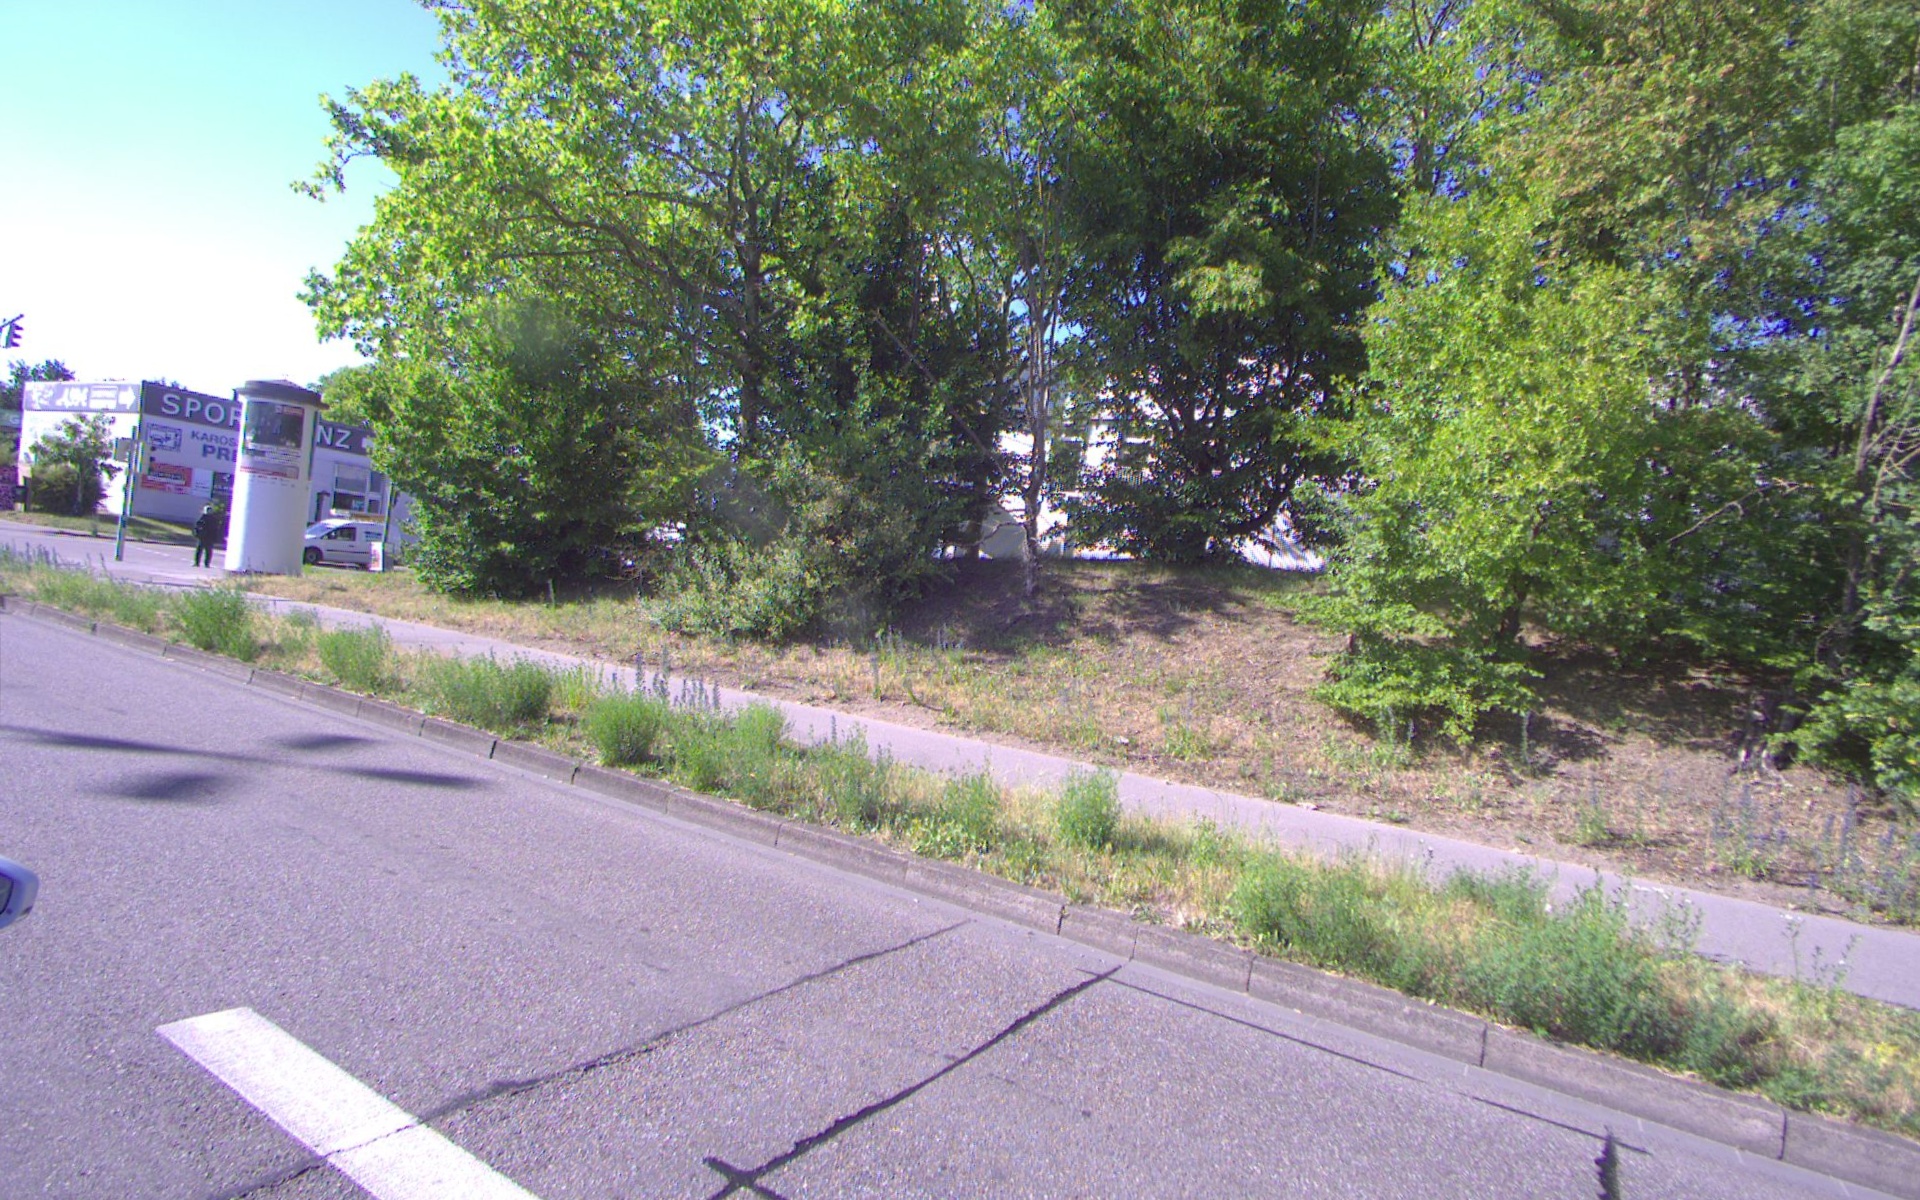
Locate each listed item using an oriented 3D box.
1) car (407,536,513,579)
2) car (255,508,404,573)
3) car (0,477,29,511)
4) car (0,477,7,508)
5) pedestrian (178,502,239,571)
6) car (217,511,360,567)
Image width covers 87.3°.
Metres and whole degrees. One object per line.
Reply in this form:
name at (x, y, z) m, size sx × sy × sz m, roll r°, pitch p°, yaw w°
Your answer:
car at (-23.013, -1.951, 46.446) m, size 1.752 × 1.509 × 4.046 m, roll 7°, pitch 1°, yaw 30°
car at (-23.848, -2.225, 38.229) m, size 1.735 × 1.824 × 4.387 m, roll 9°, pitch 1°, yaw 30°
car at (-46.891, -5.230, 47.105) m, size 1.828 × 1.472 × 4.490 m, roll 7°, pitch 1°, yaw 33°
car at (-49.242, -5.497, 48.475) m, size 1.828 × 1.472 × 4.490 m, roll 7°, pitch 1°, yaw 33°
pedestrian at (-20.976, -1.770, 28.079) m, size 0.923 × 1.755 × 0.927 m, roll 6°, pitch -1°, yaw 31°
car at (-26.623, -2.384, 40.024) m, size 1.735 × 1.568 × 4.292 m, roll 9°, pitch 1°, yaw 30°
